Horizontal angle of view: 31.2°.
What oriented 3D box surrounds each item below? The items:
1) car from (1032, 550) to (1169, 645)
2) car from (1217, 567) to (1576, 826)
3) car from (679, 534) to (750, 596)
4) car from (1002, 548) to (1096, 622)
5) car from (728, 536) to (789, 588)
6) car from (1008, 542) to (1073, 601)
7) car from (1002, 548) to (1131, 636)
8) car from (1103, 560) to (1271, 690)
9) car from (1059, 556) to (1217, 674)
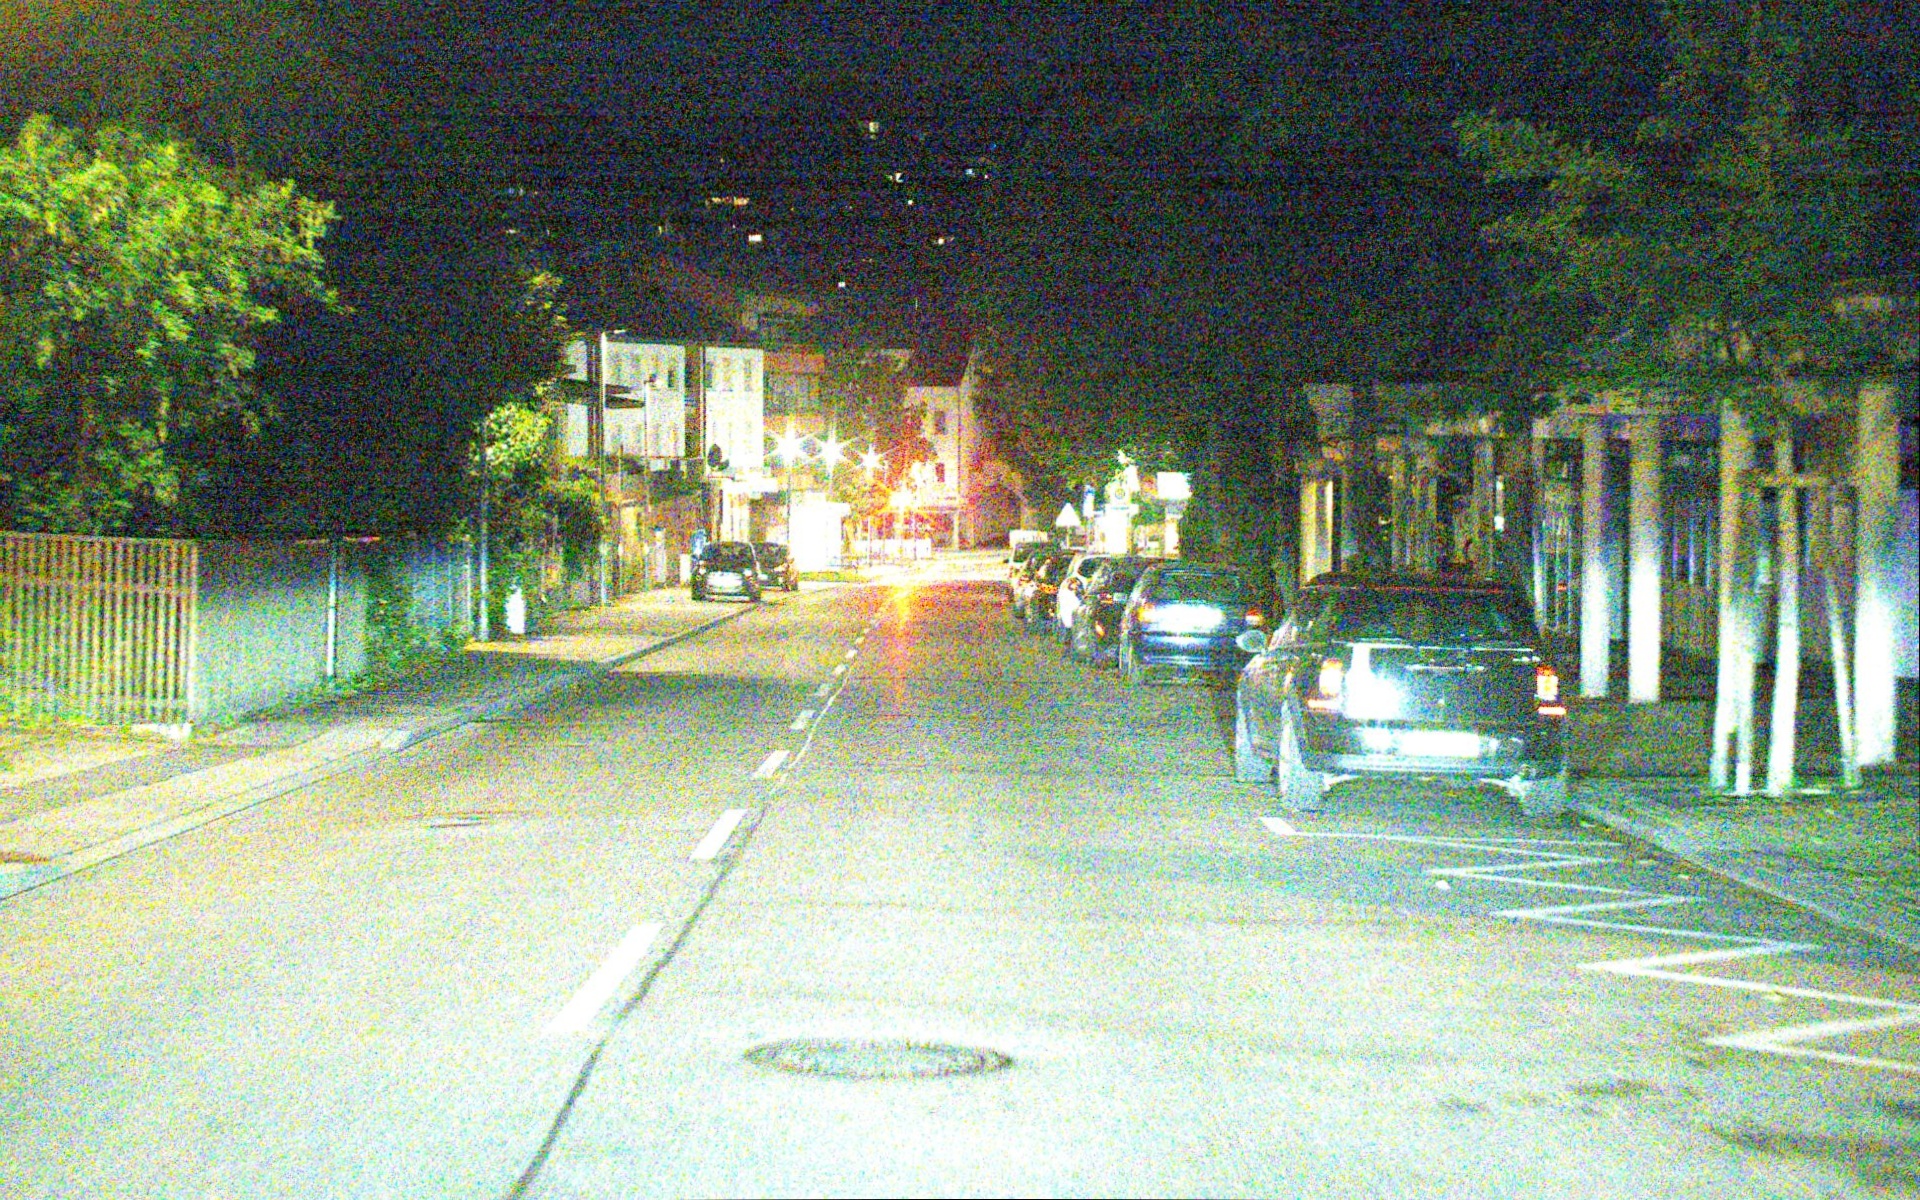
[{"bbox_3d":[2.271,-0.067,56.627,1.682,1.443,4.001,2,1,-6],"label":"car"},{"bbox_3d":[2.655,0.536,21.715,1.629,1.434,3.865,1,1,-2],"label":"car"},{"bbox_3d":[-6.285,-0.905,88.031,1.753,1.534,3.731,0,1,-4],"label":"car"},{"bbox_3d":[1.847,-0.329,72.446,1.682,1.443,4.001,2,1,-2],"label":"car"},{"bbox_3d":[-6.132,-1.168,105.154,1.753,1.534,3.731,0,1,-2],"label":"car"},{"bbox_3d":[2.152,-0.793,92.853,1.682,1.534,4.000,0,1,0],"label":"car"},{"bbox_3d":[1.861,-0.173,61.269,1.682,1.443,4.001,2,1,-7],"label":"car"},{"bbox_3d":[2.708,0.258,41.175,1.868,1.398,4.000,2,1,3],"label":"car"},{"bbox_3d":[2.337,0.166,46.021,1.682,1.443,4.001,2,1,-3],"label":"car"}]
